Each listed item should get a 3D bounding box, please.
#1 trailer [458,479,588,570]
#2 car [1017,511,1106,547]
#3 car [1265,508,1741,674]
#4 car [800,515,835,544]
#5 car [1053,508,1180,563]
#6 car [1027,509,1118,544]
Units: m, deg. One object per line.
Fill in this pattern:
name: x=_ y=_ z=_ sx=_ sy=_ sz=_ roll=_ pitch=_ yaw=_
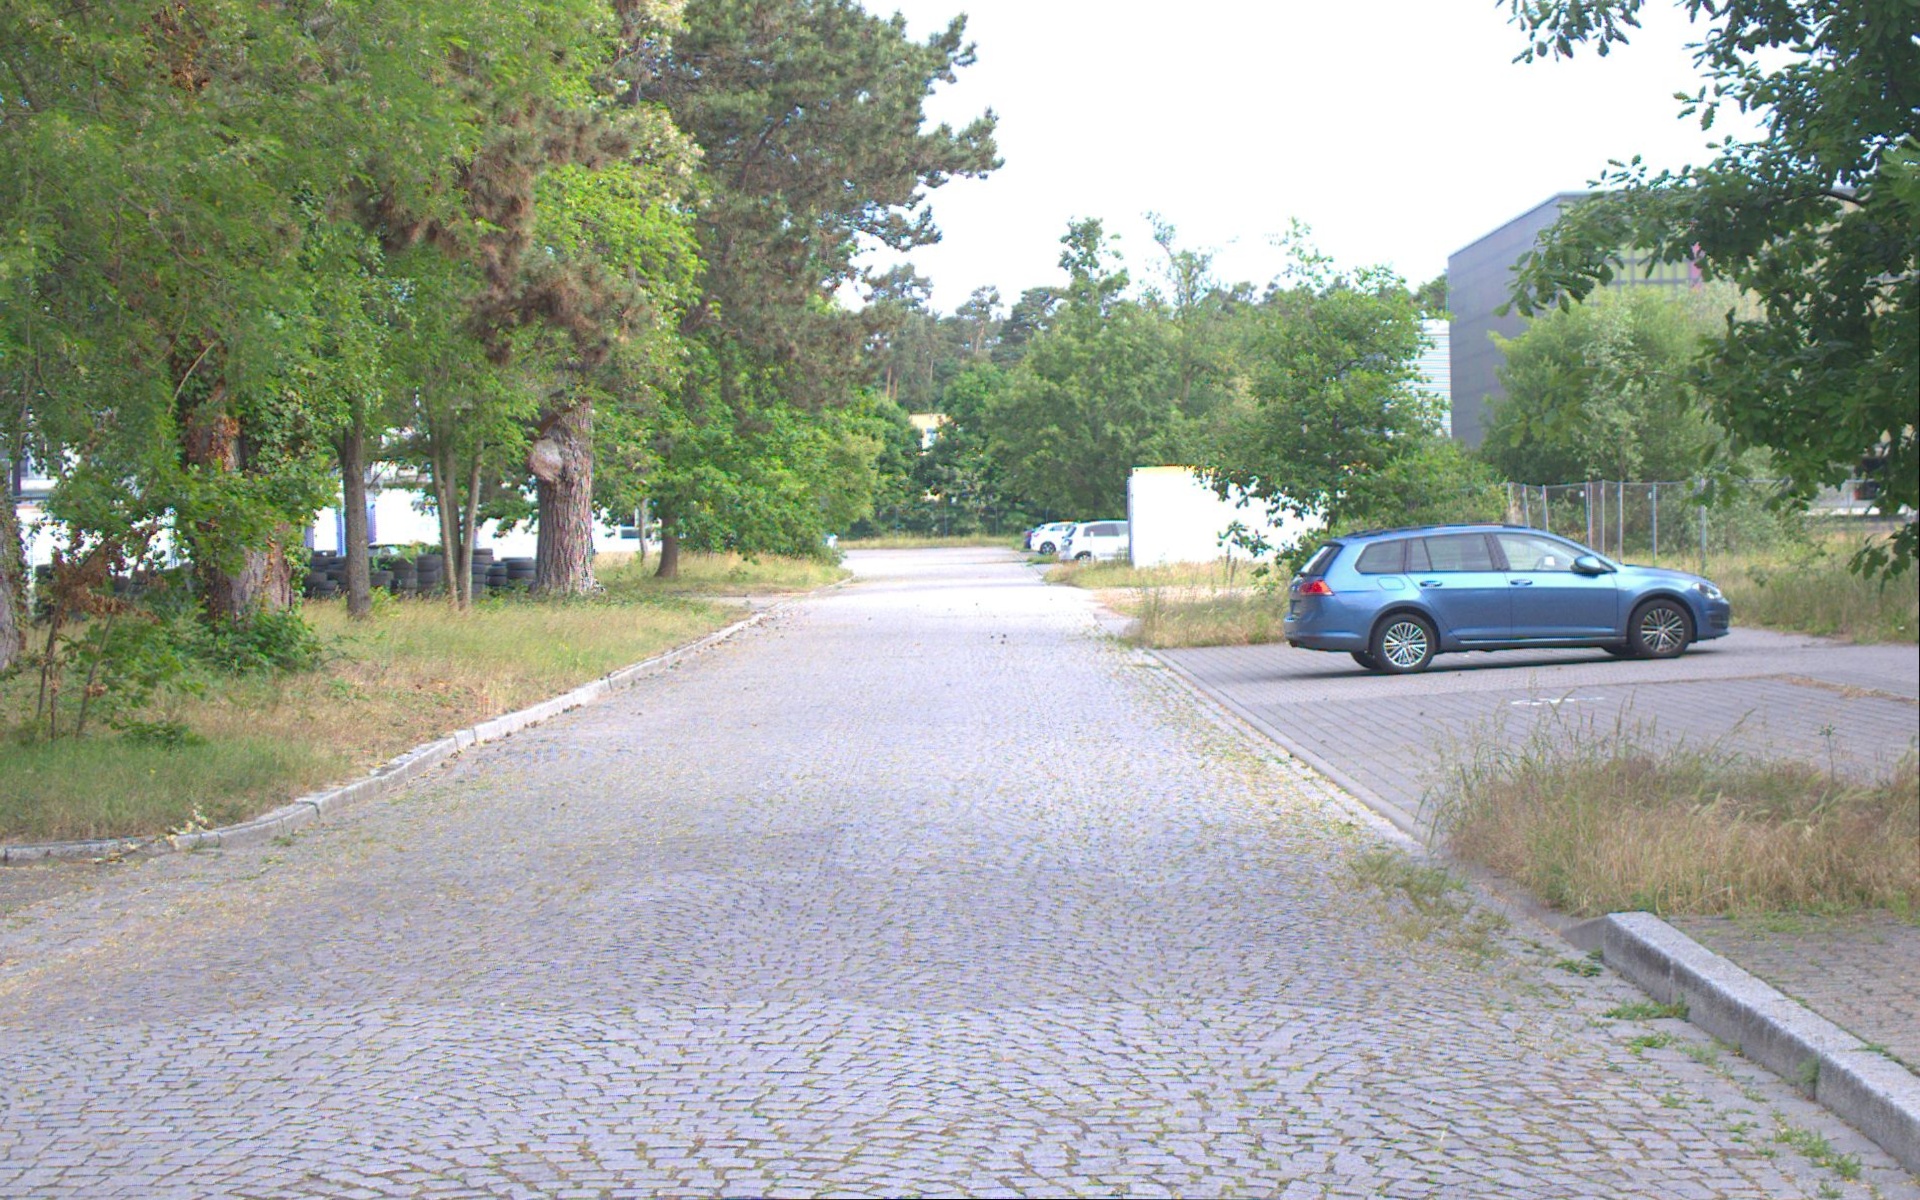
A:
trailer: x=-15.420 y=-2.694 z=121.871 sx=3.159 sy=3.057 sz=8.784 roll=-1 pitch=2 yaw=2
car: x=4.736 y=-3.317 z=160.786 sx=3.986 sy=1.596 sz=1.729 roll=-1 pitch=1 yaw=-2
car: x=5.562 y=-0.119 z=35.552 sx=4.521 sy=1.438 sz=1.824 roll=-3 pitch=2 yaw=-3
car: x=-7.624 y=-3.769 z=183.716 sx=1.803 sy=1.529 sz=4.001 roll=-1 pitch=1 yaw=-2
car: x=4.957 y=-2.054 z=109.088 sx=3.849 sy=1.649 sz=1.686 roll=-1 pitch=1 yaw=-2
car: x=5.069 y=-3.306 z=155.228 sx=4.025 sy=1.496 sz=1.548 roll=-1 pitch=1 yaw=1
